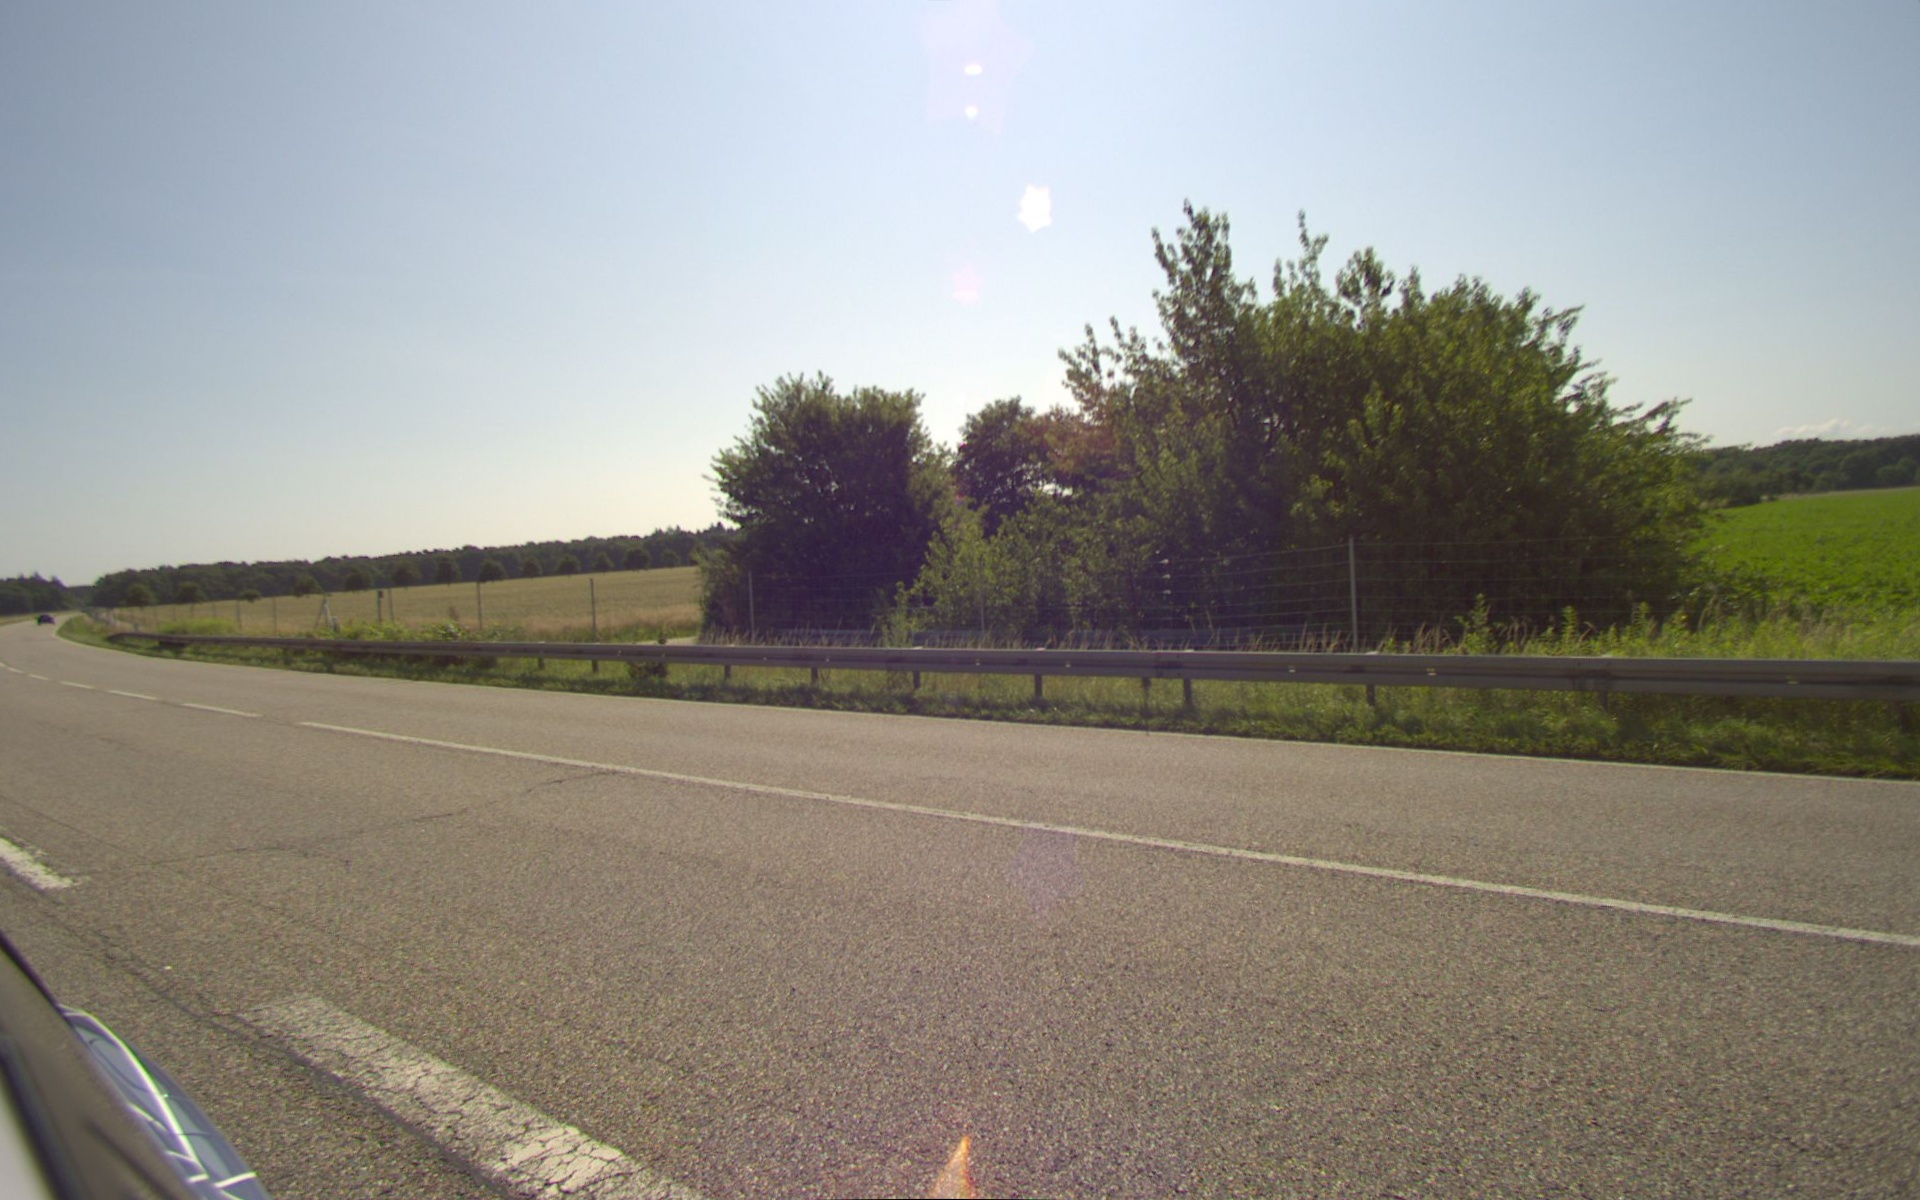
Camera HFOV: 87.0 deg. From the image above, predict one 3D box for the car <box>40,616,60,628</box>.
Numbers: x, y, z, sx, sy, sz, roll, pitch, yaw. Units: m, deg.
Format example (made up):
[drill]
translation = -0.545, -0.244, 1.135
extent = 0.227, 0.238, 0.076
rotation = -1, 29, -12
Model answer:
[car]
translation = -122.771, 2.991, 136.500
extent = 1.807, 1.519, 4.166
rotation = -2, 0, -44
